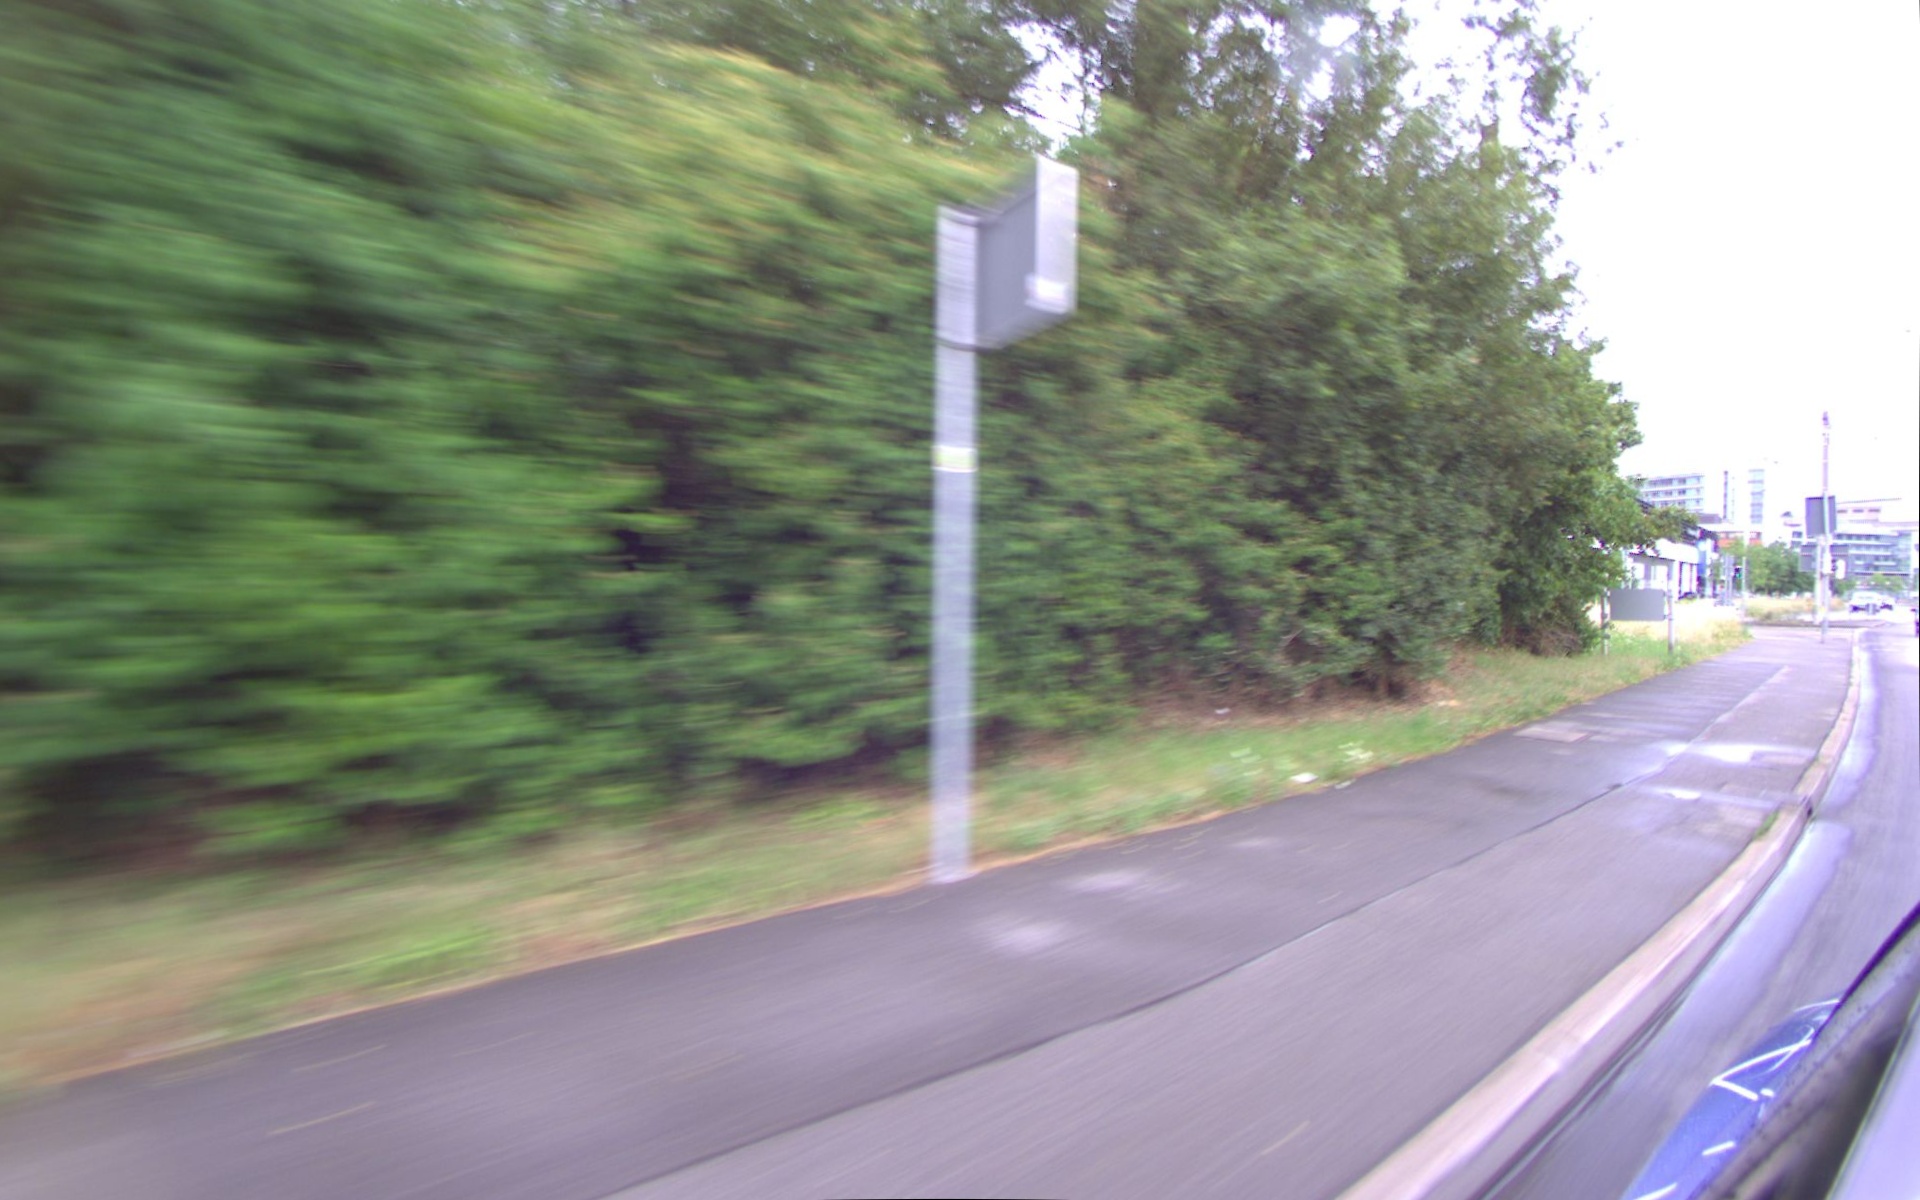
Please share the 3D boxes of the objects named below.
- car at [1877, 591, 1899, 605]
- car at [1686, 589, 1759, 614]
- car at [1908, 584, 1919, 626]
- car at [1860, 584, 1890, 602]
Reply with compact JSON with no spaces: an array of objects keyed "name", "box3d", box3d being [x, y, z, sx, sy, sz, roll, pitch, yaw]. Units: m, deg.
[{"name":"car","box3d":[99.024,-0.260,107.978,1.697,1.455,3.904,2,1,43]},{"name":"car","box3d":[50.222,0.093,66.690,4.023,1.559,1.999,0,1,-21]},{"name":"car","box3d":[36.838,0.204,37.847,3.933,1.520,1.778,0,1,-43]},{"name":"car","box3d":[83.488,-0.649,92.287,1.987,1.559,4.046,1,1,43]}]
